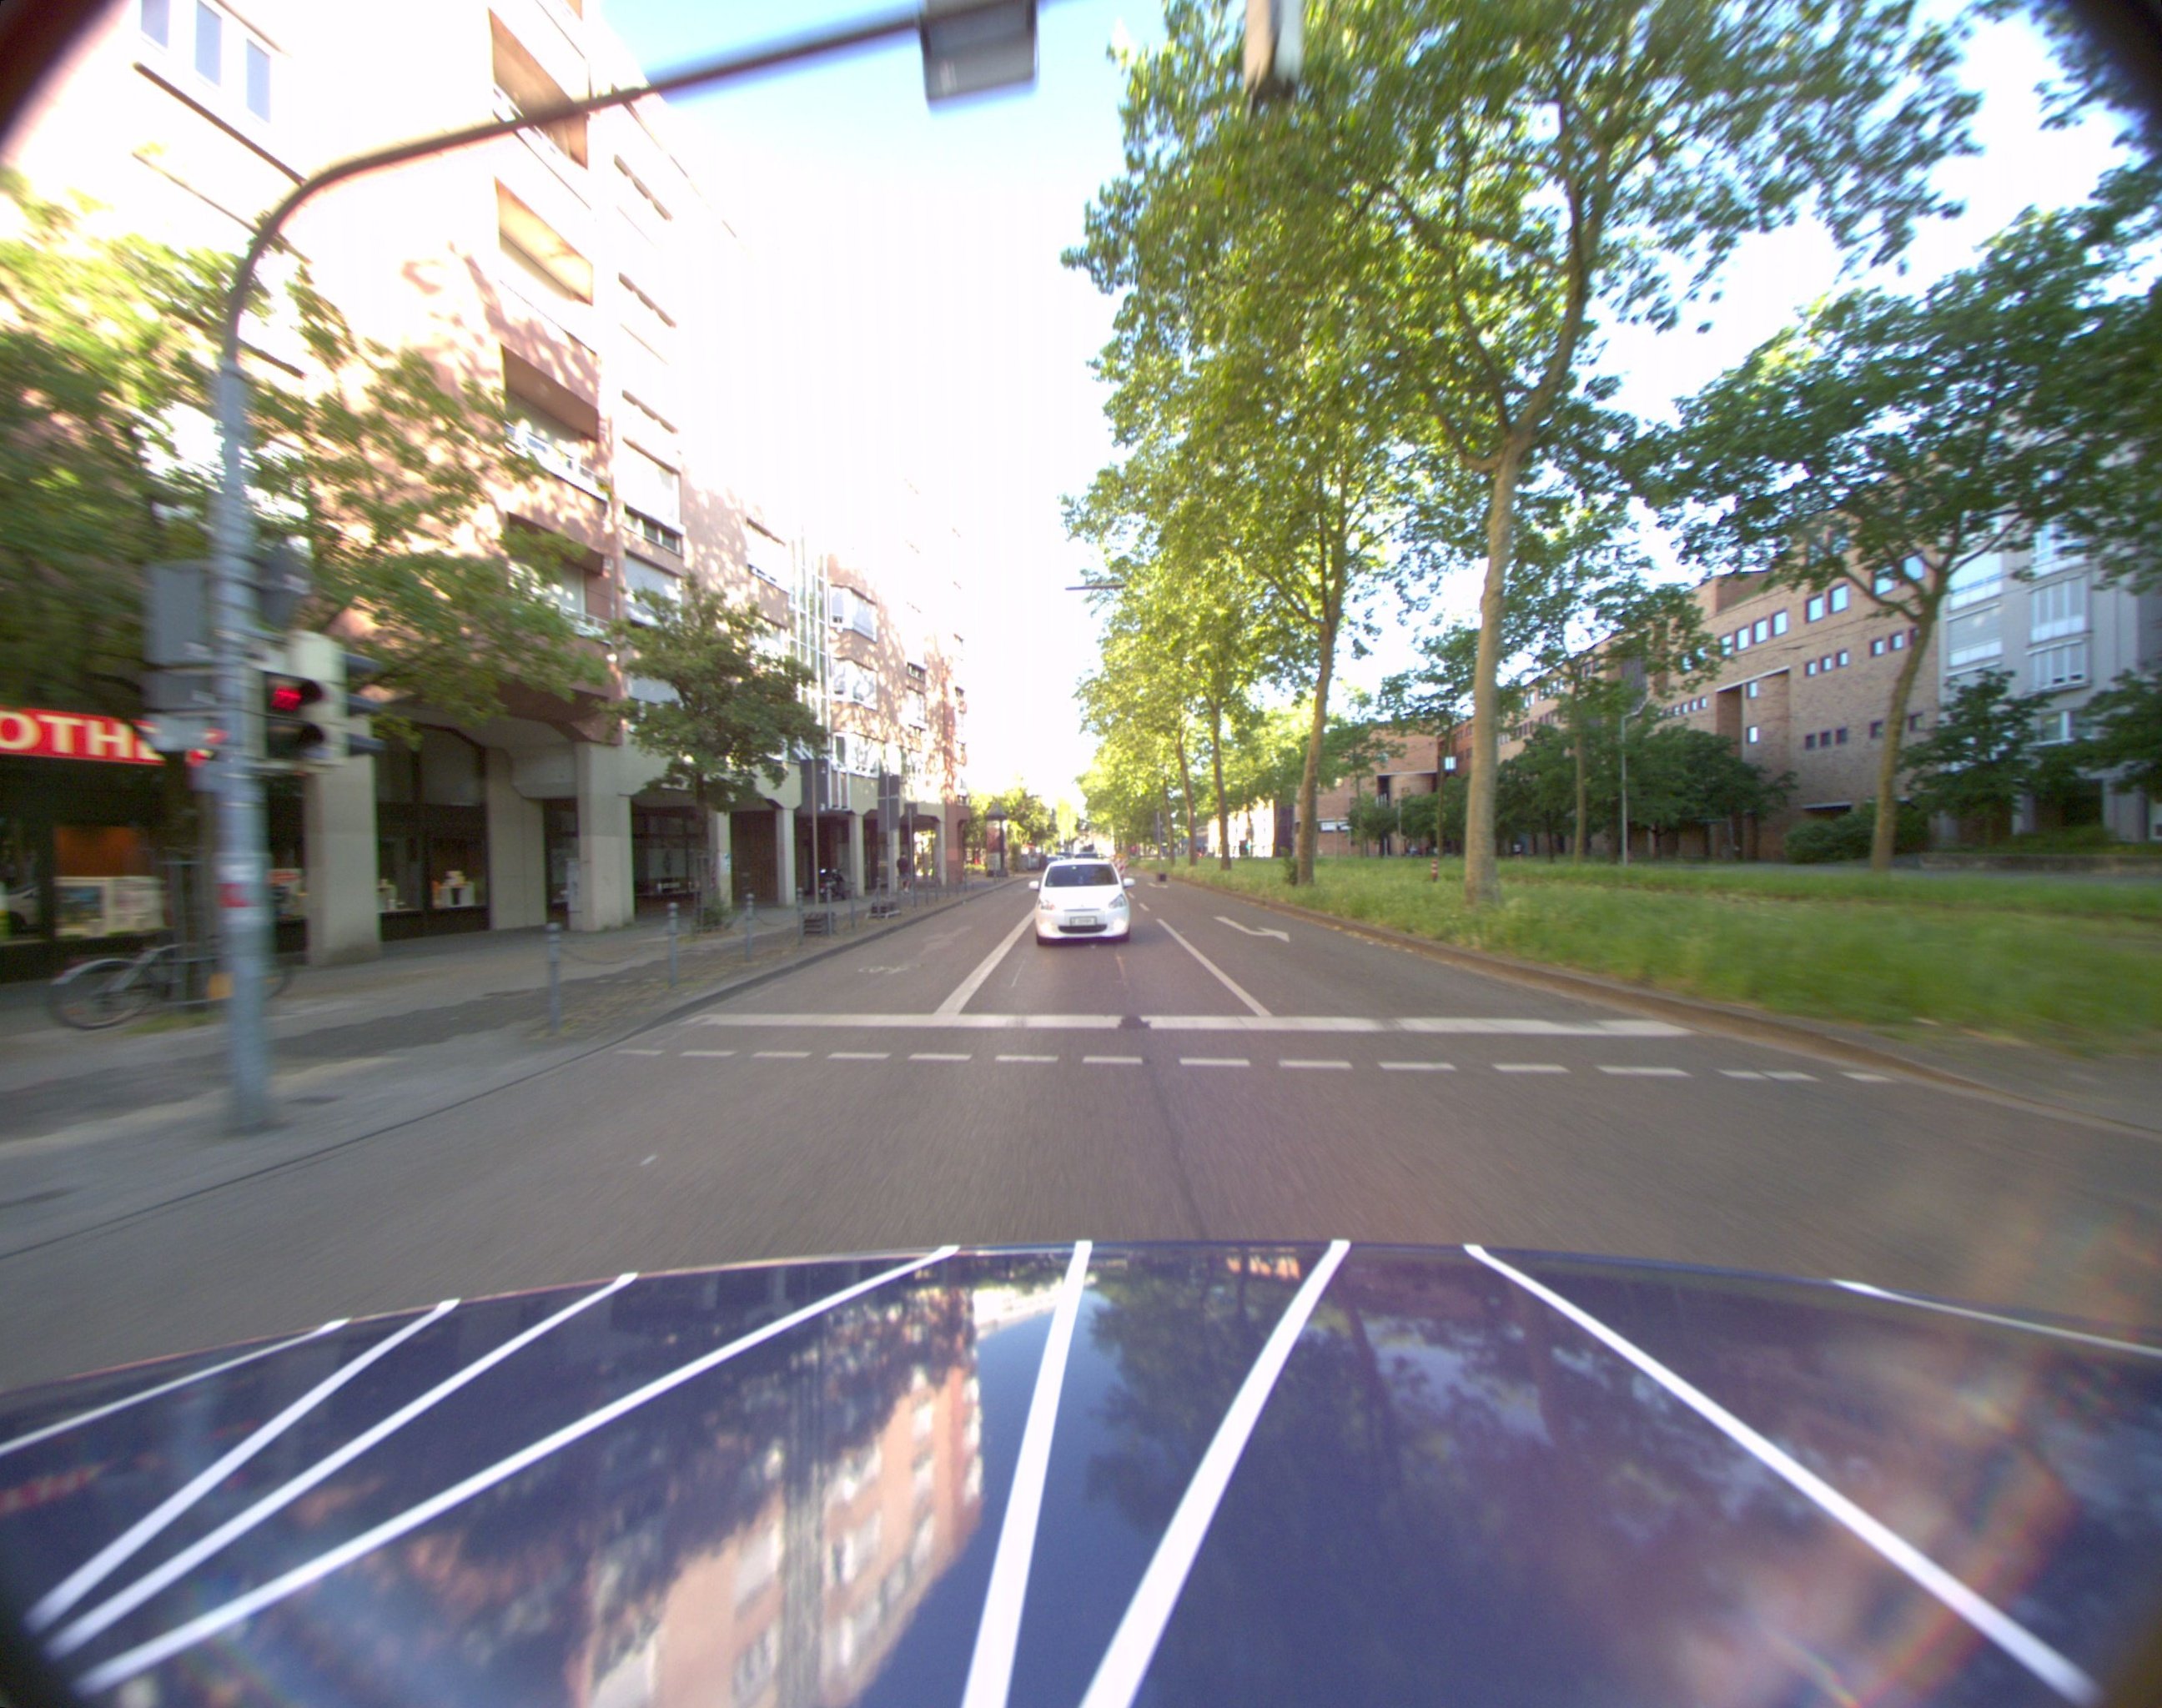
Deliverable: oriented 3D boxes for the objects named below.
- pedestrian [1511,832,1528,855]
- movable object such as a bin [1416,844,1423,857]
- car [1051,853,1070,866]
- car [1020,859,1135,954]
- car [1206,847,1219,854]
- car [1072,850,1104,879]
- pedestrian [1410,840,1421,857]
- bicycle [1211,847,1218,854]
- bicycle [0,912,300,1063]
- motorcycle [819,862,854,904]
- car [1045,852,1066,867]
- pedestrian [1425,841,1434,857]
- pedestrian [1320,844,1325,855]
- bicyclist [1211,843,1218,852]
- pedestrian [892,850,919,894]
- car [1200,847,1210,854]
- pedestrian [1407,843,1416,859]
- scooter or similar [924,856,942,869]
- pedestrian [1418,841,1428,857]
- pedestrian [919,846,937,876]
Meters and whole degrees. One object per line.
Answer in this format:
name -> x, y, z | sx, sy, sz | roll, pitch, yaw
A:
pedestrian -> 35.017, -0.834, 60.683 | 0.826, 1.821, 0.901 | -1, 1, 2
movable object such as a bin -> 34.160, -0.339, 76.766 | 0.356, 1.272, 0.756 | -1, 1, 1
car -> -2.235, 0.593, 84.246 | 1.705, 1.457, 4.176 | 0, 0, 5
car -> 0.089, 0.894, 14.825 | 1.720, 1.442, 4.426 | -4, 0, 5
car -> 26.255, -0.731, 151.780 | 1.675, 1.421, 4.149 | -1, 0, 0
car -> 0.446, 0.601, 46.381 | 1.824, 1.630, 4.000 | -1, 1, 2
pedestrian -> 34.133, -0.567, 77.551 | 0.665, 1.712, 0.796 | -1, 1, 0
bicycle -> 22.589, -0.637, 128.583 | 0.959, 1.119, 2.436 | -1, 1, 2
bicycle -> -9.642, 1.302, 7.974 | 0.622, 1.218, 1.928 | -1, 1, 14
motorcycle -> -8.617, 1.006, 26.857 | 0.489, 1.364, 2.090 | -1, 1, 2
car -> -2.639, 0.593, 78.303 | 1.706, 1.475, 4.249 | 0, 0, 4
pedestrian -> 35.498, -0.495, 77.476 | 0.612, 1.670, 0.596 | -1, 1, 0
pedestrian -> 35.035, -0.629, 110.165 | 0.417, 1.535, 0.653 | -1, 1, -5
bicyclist -> 22.574, -1.053, 128.431 | 0.943, 1.562, 1.209 | -1, 1, 2
pedestrian -> -7.104, 0.729, 30.778 | 0.782, 1.728, 0.837 | -1, 1, 10
car -> 27.119, -0.830, 166.477 | 1.617, 1.421, 3.221 | -1, 0, 0
pedestrian -> 34.337, -0.288, 78.914 | 0.665, 1.607, 0.756 | -1, 1, 0
scooter or similar -> -13.375, 0.737, 68.481 | 1.457, 1.139, 0.559 | -1, 1, 7
pedestrian -> 34.922, -0.489, 77.518 | 0.665, 1.607, 0.756 | -1, 1, 0
pedestrian -> -10.211, 0.481, 50.692 | 0.850, 1.970, 0.816 | -2, 1, -32
